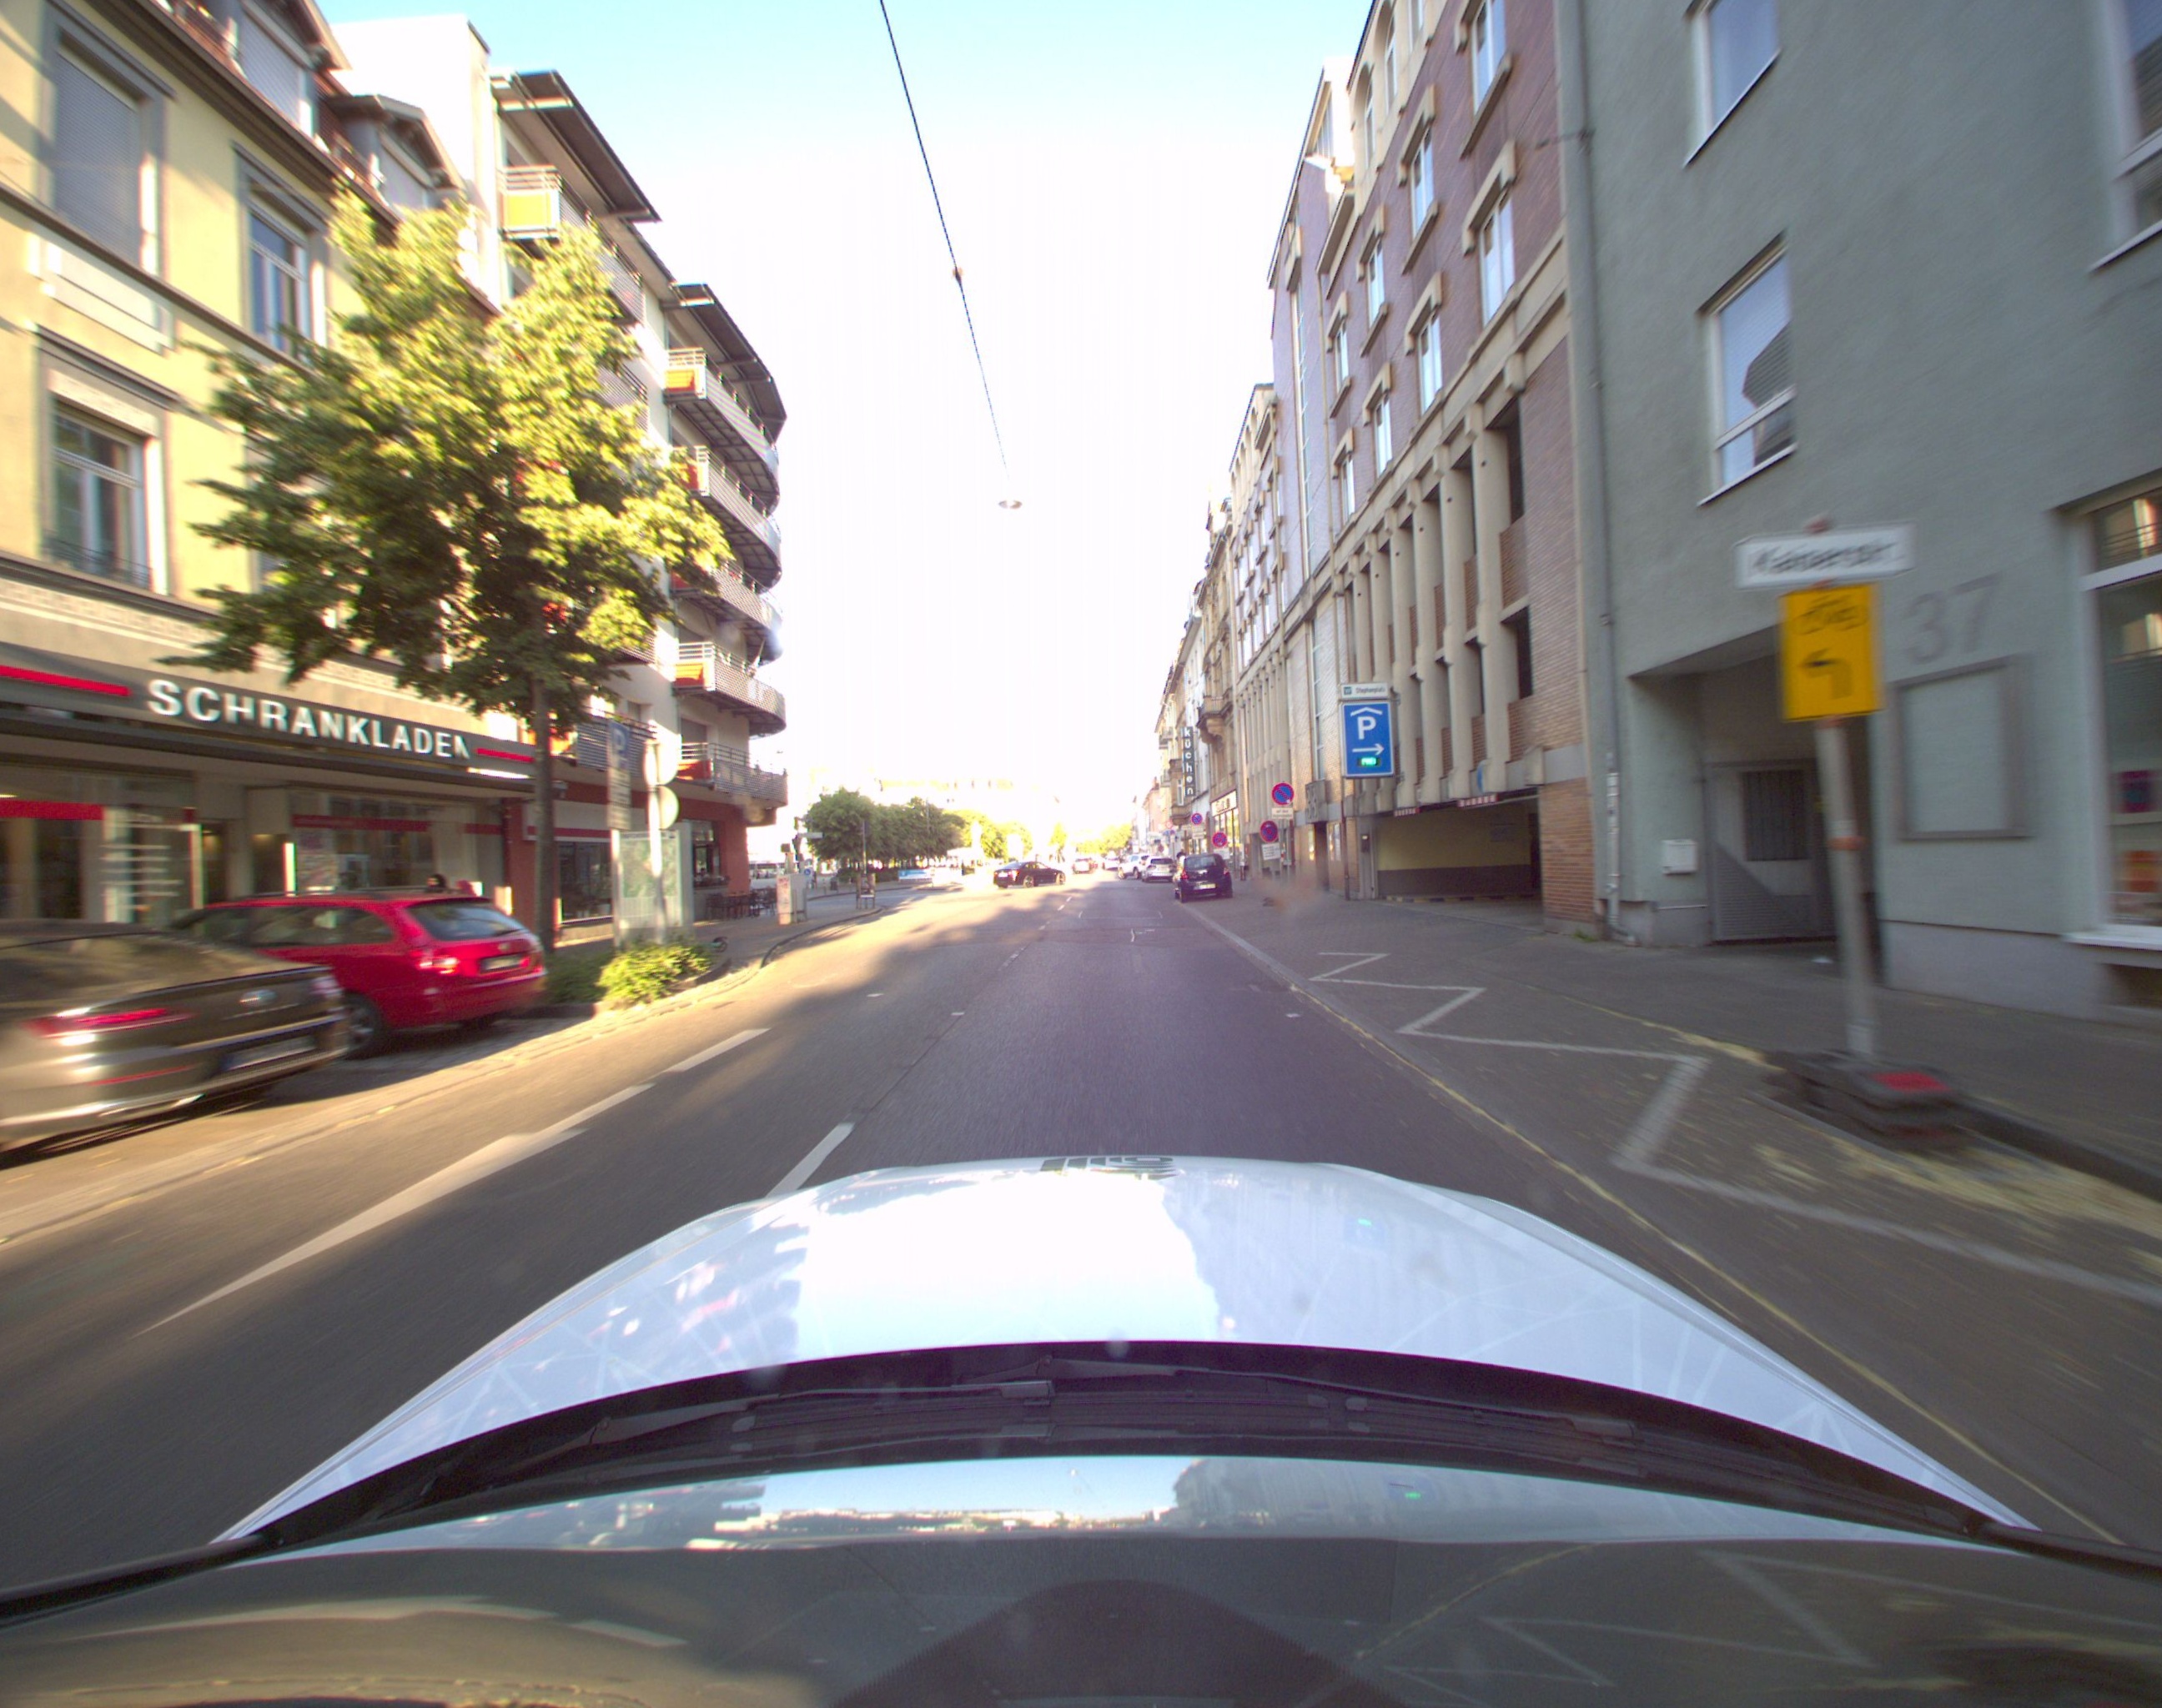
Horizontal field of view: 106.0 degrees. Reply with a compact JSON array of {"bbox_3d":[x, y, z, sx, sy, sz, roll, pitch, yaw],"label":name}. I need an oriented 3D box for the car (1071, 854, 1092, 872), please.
[{"bbox_3d":[0.054,0.855,79.697,1.890,1.649,4.105,-2,0,1],"label":"car"}]

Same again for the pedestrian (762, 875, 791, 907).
[{"bbox_3d":[-12.488,1.527,33.444,0.897,1.242,0.766,-3,-2,-7],"label":"pedestrian"}]

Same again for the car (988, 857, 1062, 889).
[{"bbox_3d":[-2.932,0.985,43.706,1.878,1.581,4.025,-1,0,34],"label":"car"}]

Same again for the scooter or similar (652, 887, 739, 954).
[{"bbox_3d":[-7.470,1.281,15.806,1.394,1.226,0.525,-1,0,-2],"label":"scooter or similar"}]

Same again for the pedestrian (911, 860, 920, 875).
[{"bbox_3d":[-17.647,1.411,86.876,0.672,1.595,0.680,-2,0,21],"label":"pedestrian"}]

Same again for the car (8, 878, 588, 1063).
[{"bbox_3d":[-7.619,1.075,8.256,4.057,1.536,1.885,-1,0,1],"label":"car"}]

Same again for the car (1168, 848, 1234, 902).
[{"bbox_3d":[4.002,0.666,27.780,1.752,1.536,4.003,-5,0,3],"label":"car"}]

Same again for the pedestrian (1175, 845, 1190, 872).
[{"bbox_3d":[7.014,0.301,56.334,0.770,1.827,1.011,-4,0,1],"label":"pedestrian"}]

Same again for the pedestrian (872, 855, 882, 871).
[{"bbox_3d":[-20.028,0.884,79.931,0.672,1.595,0.571,-2,0,21],"label":"pedestrian"}]

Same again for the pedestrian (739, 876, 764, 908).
[{"bbox_3d":[-13.659,1.564,33.768,0.720,1.247,0.828,-3,-2,-4],"label":"pedestrian"}]

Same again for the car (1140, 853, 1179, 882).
[{"bbox_3d":[4.397,0.760,46.278,1.753,1.536,4.820,0,-1,0],"label":"car"}]

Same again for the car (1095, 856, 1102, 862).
[{"bbox_3d":[4.361,1.254,202.948,1.773,1.547,4.001,-2,0,1],"label":"car"}]

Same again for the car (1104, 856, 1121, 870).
[{"bbox_3d":[3.637,1.070,94.538,1.890,1.581,4.001,-1,0,1],"label":"car"}]

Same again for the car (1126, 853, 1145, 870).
[{"bbox_3d":[5.355,0.754,80.417,1.723,1.651,4.287,0,-1,2],"label":"car"}]

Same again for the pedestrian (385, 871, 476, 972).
[{"bbox_3d":[-10.726,1.086,13.455,0.769,1.608,0.876,-1,-2,2],"label":"pedestrian"}]

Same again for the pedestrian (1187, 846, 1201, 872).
[{"bbox_3d":[7.809,0.337,56.383,0.770,1.711,1.042,-4,0,1],"label":"pedestrian"}]

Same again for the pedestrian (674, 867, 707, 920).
[{"bbox_3d":[-12.255,1.223,25.555,0.594,1.595,0.751,-3,-2,3],"label":"pedestrian"}]

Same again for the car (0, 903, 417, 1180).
[{"bbox_3d":[-7.470,1.130,5.420,4.555,1.407,1.821,-1,0,0],"label":"car"}]

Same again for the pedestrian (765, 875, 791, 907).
[{"bbox_3d":[-12.694,1.555,34.172,0.826,1.273,0.747,-3,-2,-7],"label":"pedestrian"}]

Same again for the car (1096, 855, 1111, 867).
[{"bbox_3d":[3.023,0.949,107.955,1.890,1.581,3.853,1,0,1],"label":"car"}]

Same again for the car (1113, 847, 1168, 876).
[{"bbox_3d":[3.979,0.523,54.959,2.000,1.761,4.435,-2,0,-20],"label":"car"}]

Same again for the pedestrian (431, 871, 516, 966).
[{"bbox_3d":[-10.115,1.051,13.590,0.731,1.528,0.876,-1,-2,2],"label":"pedestrian"}]

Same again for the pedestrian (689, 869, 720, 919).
[{"bbox_3d":[-12.306,1.301,26.622,0.594,1.595,0.702,-3,-2,3],"label":"pedestrian"}]
